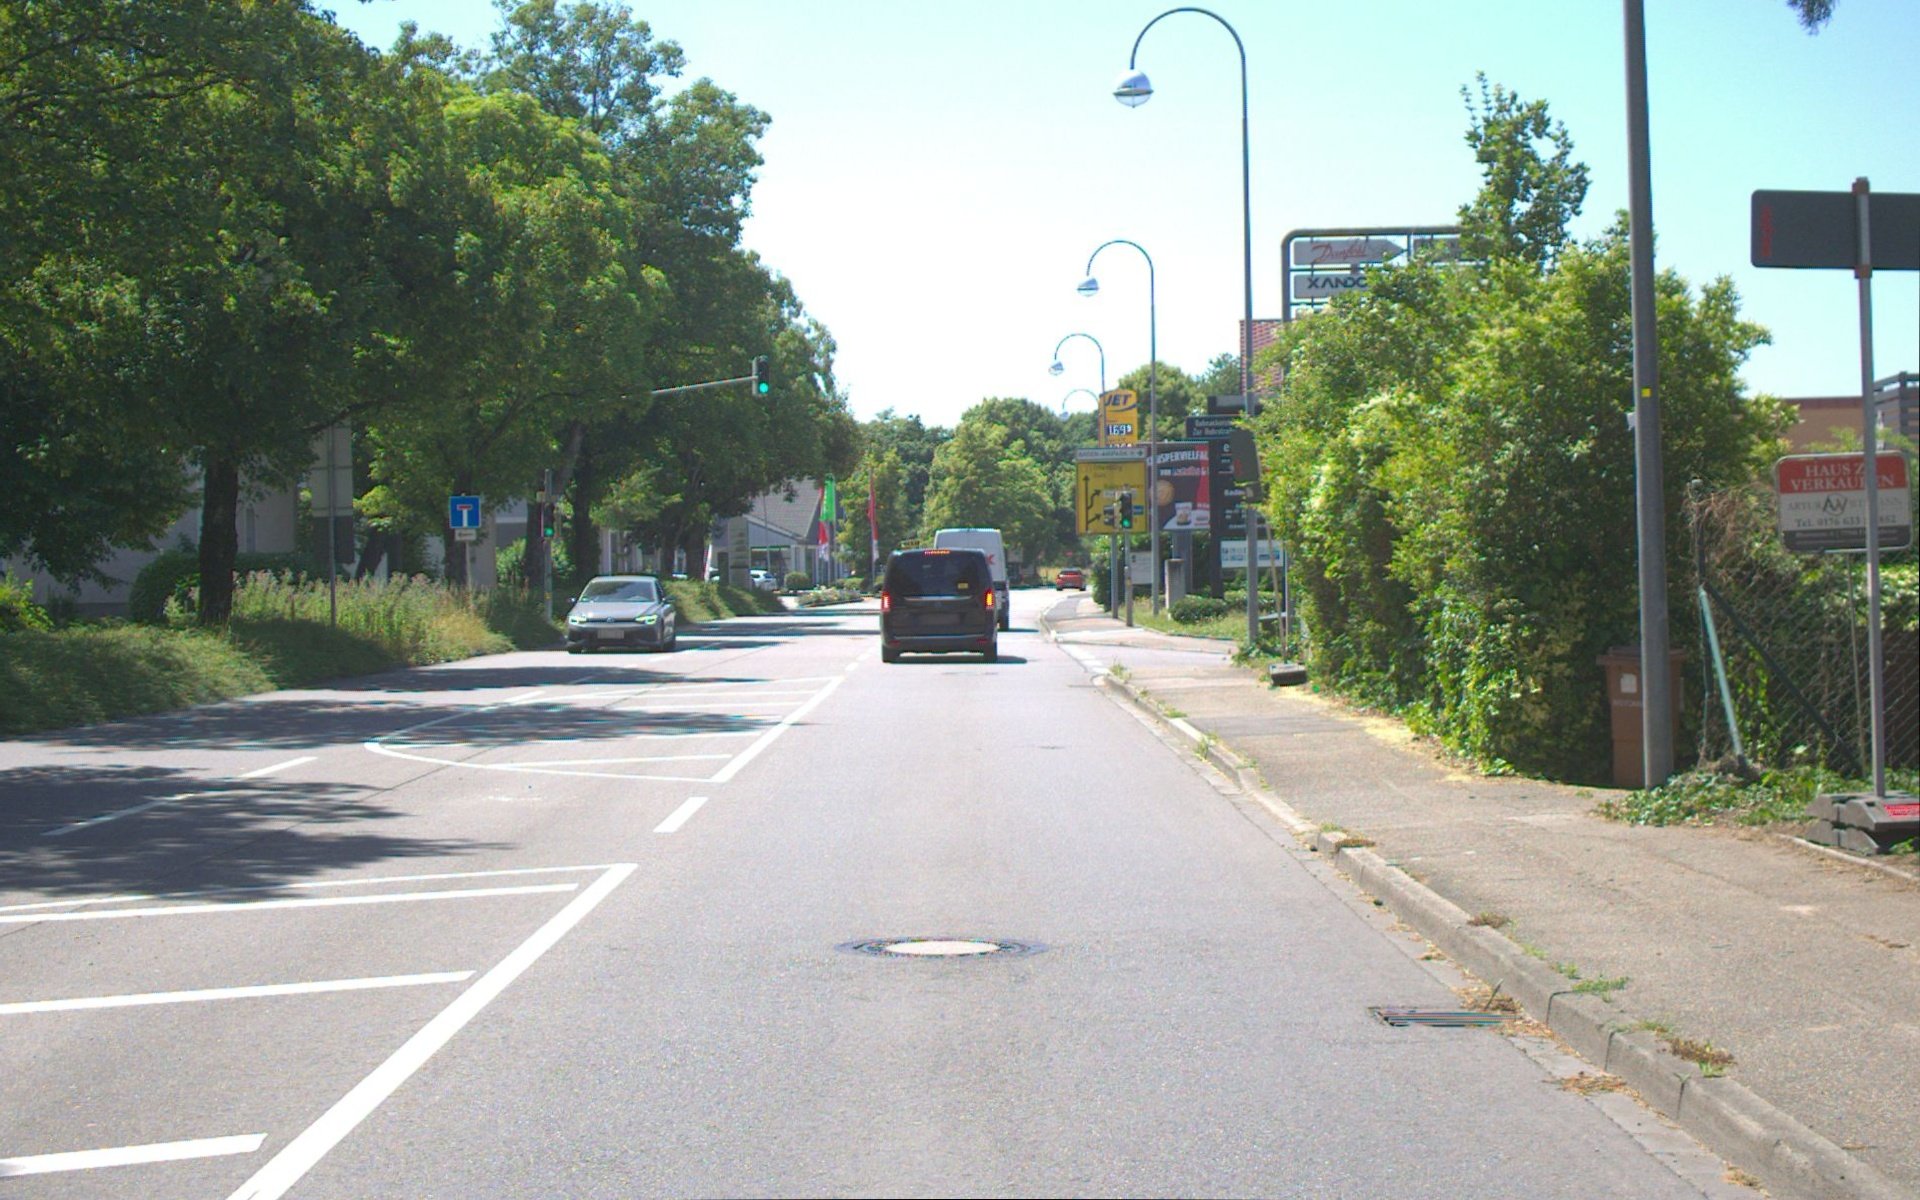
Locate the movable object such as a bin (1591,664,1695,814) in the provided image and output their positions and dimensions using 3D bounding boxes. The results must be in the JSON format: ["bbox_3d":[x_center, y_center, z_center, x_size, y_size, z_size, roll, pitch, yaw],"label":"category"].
[{"bbox_3d":[4.402,0.886,22.152,0.471,0.924,0.523,2,1,34],"label":"movable object such as a bin"}]

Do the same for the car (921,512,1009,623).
[{"bbox_3d":[0.161,-0.867,88.177,2.120,2.668,5.662,1,2,1],"label":"car"}]

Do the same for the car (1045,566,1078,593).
[{"bbox_3d":[6.671,-1.342,225.873,1.858,1.637,3.999,1,2,7],"label":"car"}]

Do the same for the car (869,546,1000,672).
[{"bbox_3d":[-0.459,0.106,56.428,1.993,1.886,4.001,1,2,-2],"label":"car"}]

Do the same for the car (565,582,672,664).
[{"bbox_3d":[-6.478,0.418,65.503,1.721,1.422,4.148,1,1,-1],"label":"car"}]
